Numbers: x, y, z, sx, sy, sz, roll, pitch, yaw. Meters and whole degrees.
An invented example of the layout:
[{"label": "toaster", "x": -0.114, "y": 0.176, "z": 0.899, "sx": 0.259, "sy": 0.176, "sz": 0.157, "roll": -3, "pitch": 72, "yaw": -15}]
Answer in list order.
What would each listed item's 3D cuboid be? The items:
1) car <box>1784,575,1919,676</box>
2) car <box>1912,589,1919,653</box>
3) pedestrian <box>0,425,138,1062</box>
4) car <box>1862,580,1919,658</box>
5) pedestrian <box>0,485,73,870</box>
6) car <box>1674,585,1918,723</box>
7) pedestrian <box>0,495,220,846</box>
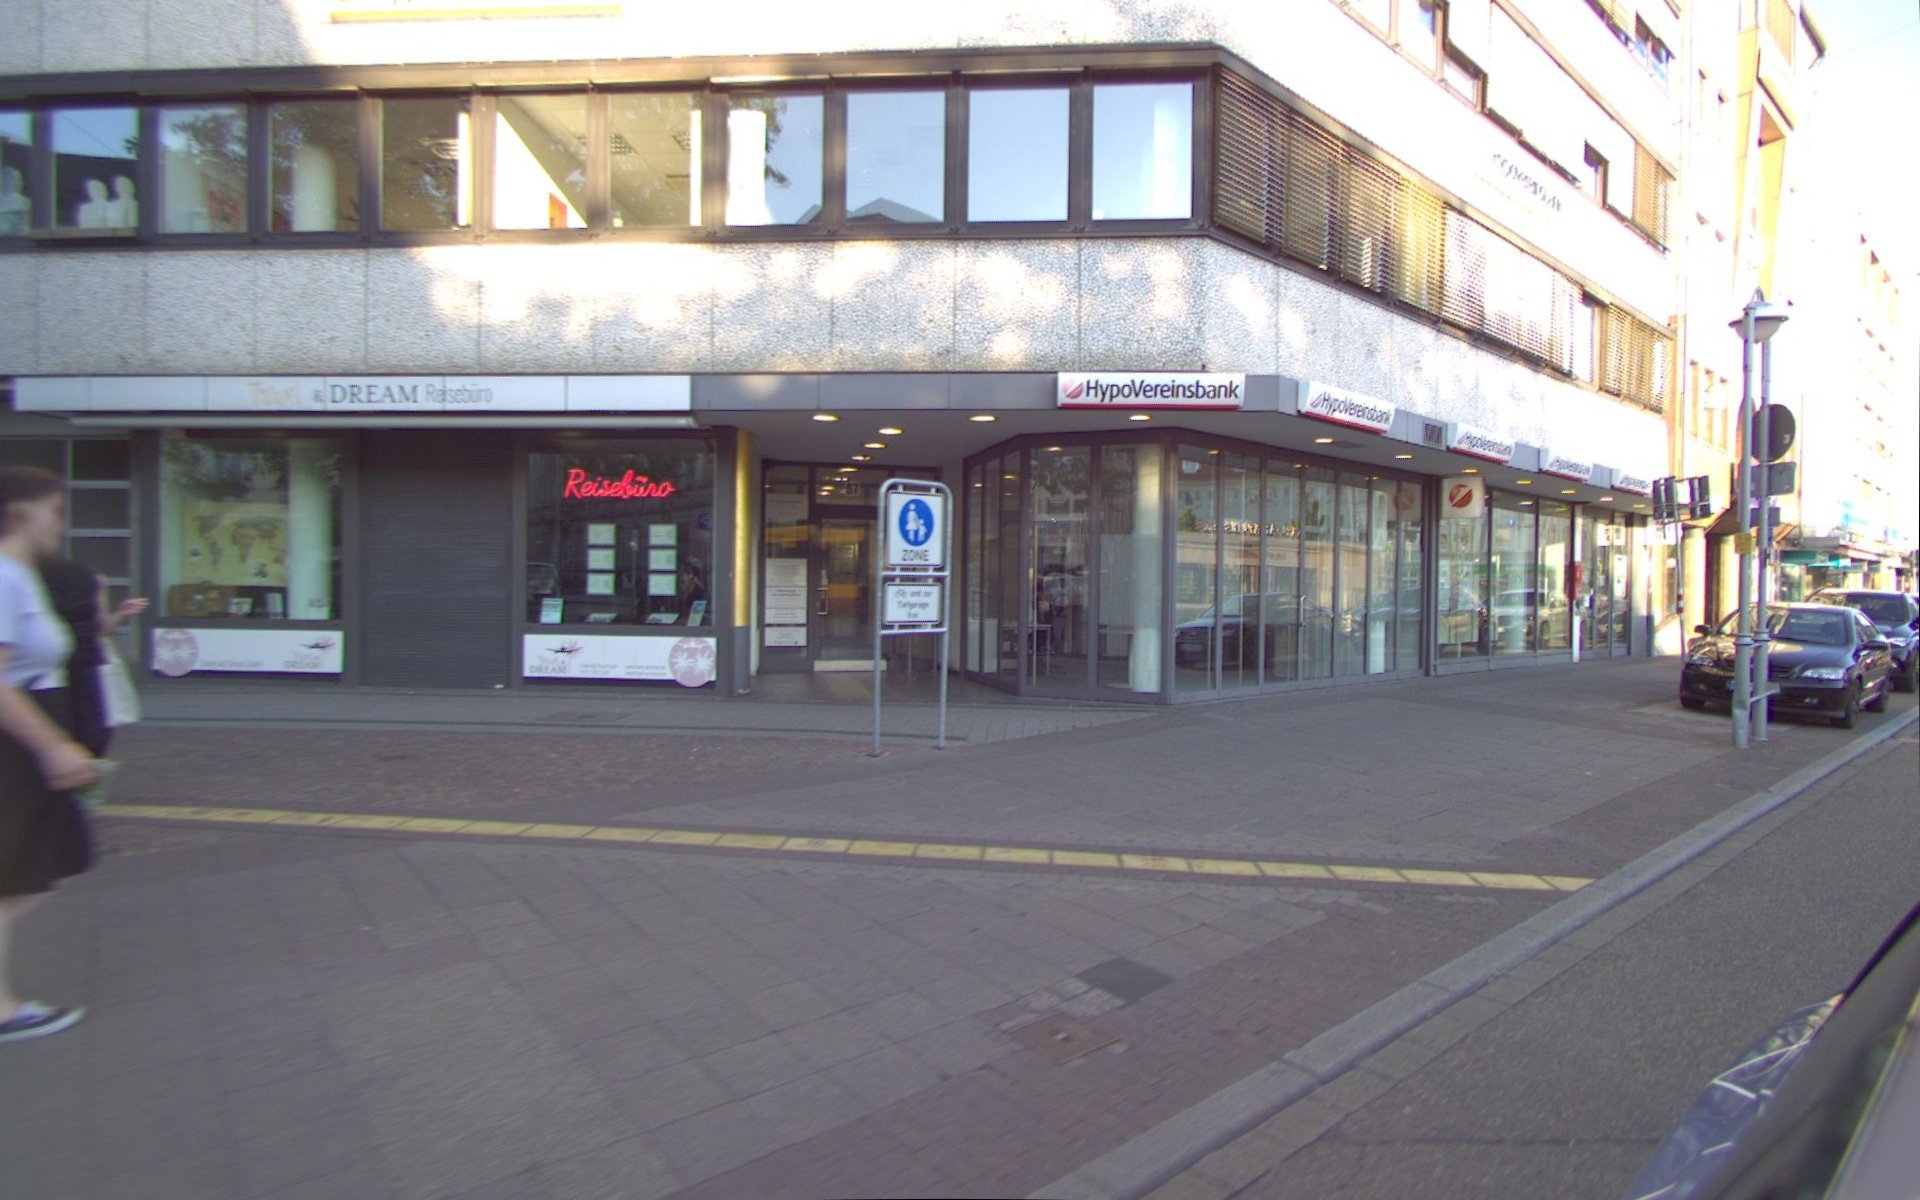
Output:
[{"label": "car", "x": 16.084, "y": 0.428, "z": 17.770, "sx": 4.497, "sy": 1.558, "sz": 1.779, "roll": 2, "pitch": 0, "yaw": -41}, {"label": "car", "x": 26.043, "y": 0.520, "z": 26.047, "sx": 4.753, "sy": 1.571, "sz": 1.812, "roll": 0, "pitch": 1, "yaw": -42}, {"label": "pedestrian", "x": -3.062, "y": 0.406, "z": 3.101, "sx": 0.809, "sy": 1.826, "sz": 0.716, "roll": -1, "pitch": 2, "yaw": -38}, {"label": "car", "x": 21.428, "y": 0.383, "z": 22.166, "sx": 4.639, "sy": 1.605, "sz": 1.820, "roll": 0, "pitch": 1, "yaw": -40}, {"label": "pedestrian", "x": -4.800, "y": 0.356, "z": 4.680, "sx": 0.811, "sy": 1.762, "sz": 0.657, "roll": 0, "pitch": 2, "yaw": 12}, {"label": "car", "x": 10.891, "y": 0.570, "z": 13.072, "sx": 4.265, "sy": 1.396, "sz": 1.659, "roll": 0, "pitch": 5, "yaw": -41}, {"label": "pedestrian", "x": -4.624, "y": 0.342, "z": 5.420, "sx": 0.811, "sy": 1.745, "sz": 0.657, "roll": 0, "pitch": 2, "yaw": 12}]
